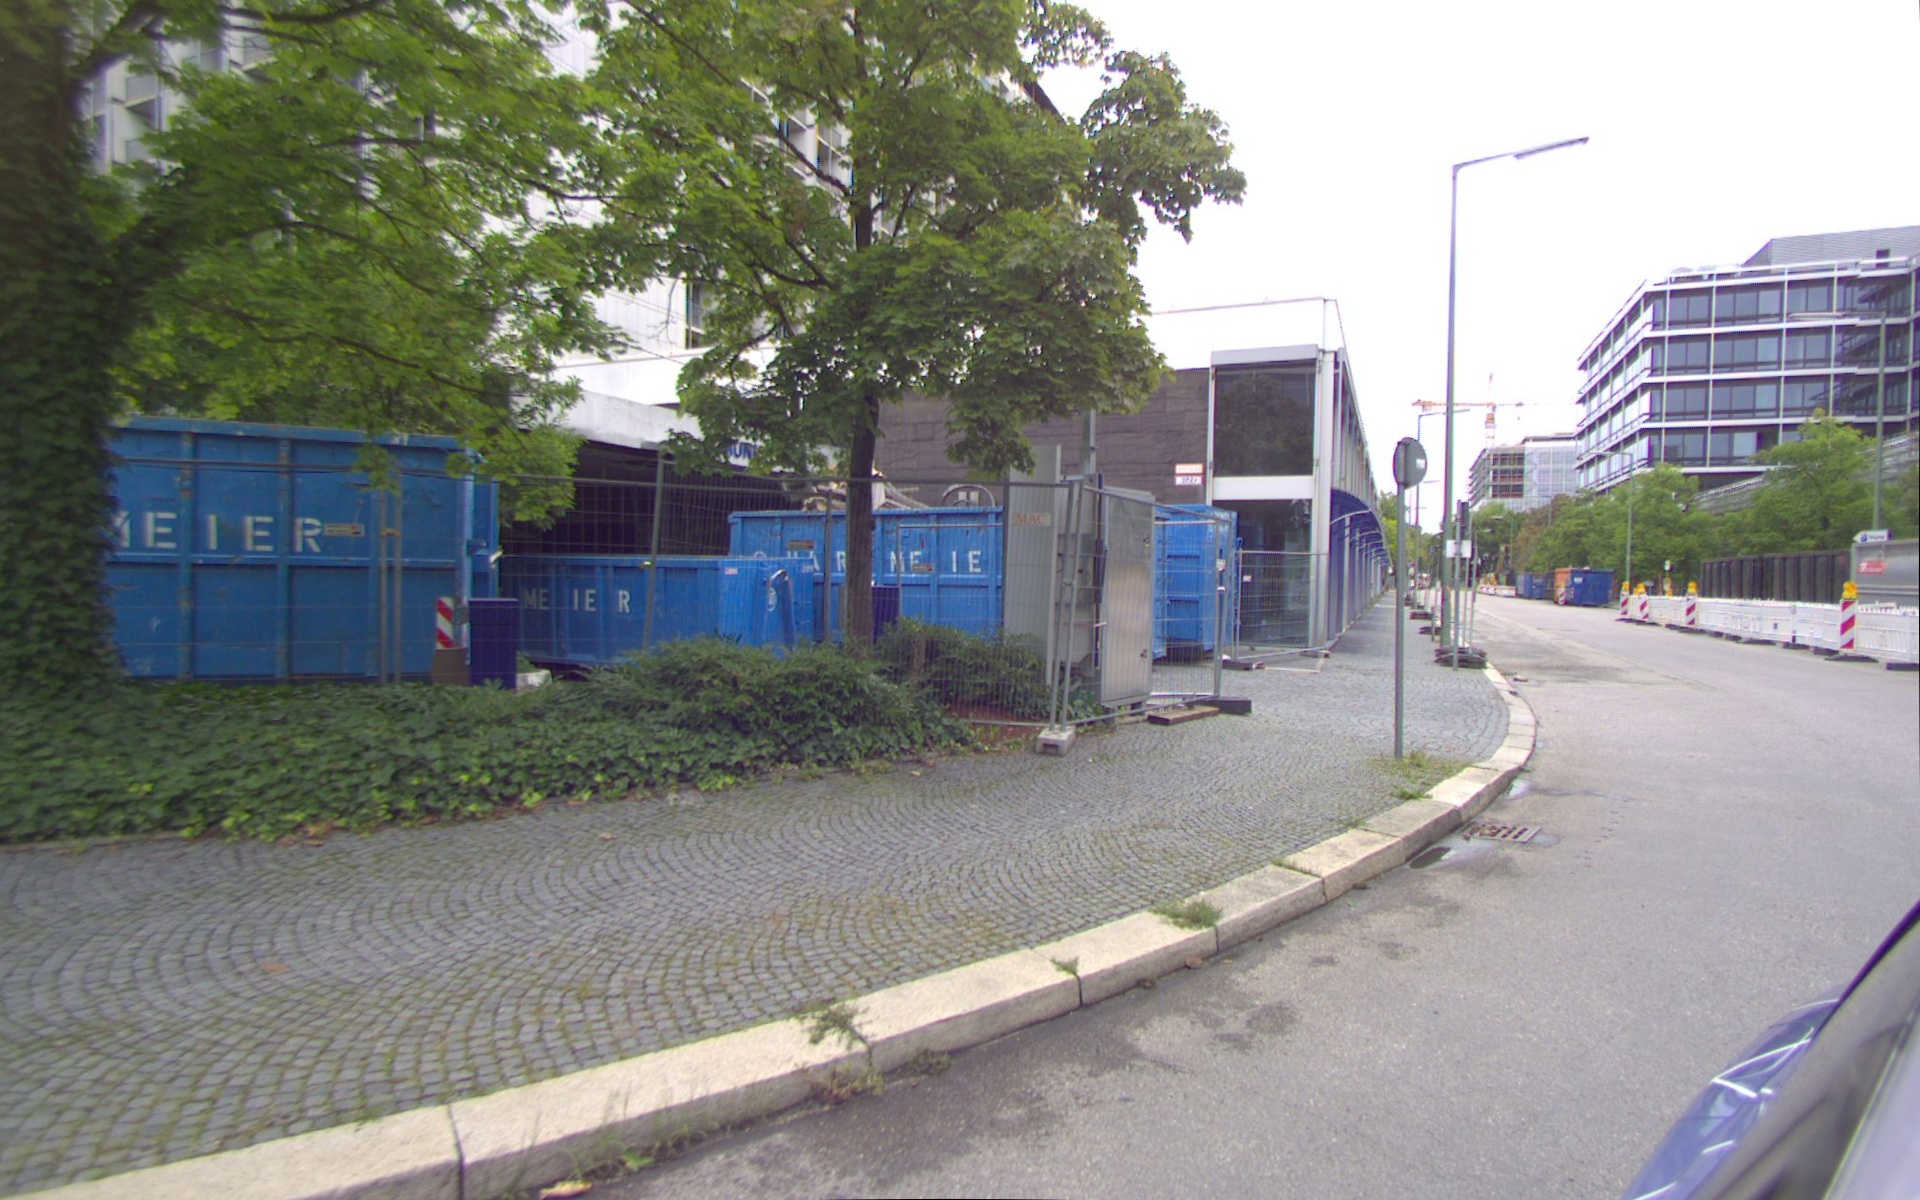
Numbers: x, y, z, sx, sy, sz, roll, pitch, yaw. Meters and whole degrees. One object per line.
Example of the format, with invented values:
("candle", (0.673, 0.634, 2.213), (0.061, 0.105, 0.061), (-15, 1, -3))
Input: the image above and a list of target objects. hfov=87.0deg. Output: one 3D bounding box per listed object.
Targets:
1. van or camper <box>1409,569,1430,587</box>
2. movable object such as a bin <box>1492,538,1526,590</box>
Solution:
("van or camper", (73.782, -3.596, 162.470), (2.643, 2.801, 6.851), (2, 2, 27))
("movable object such as a bin", (69.912, -4.586, 128.972), (3.212, 6.400, 8.262), (2, 2, 26))
